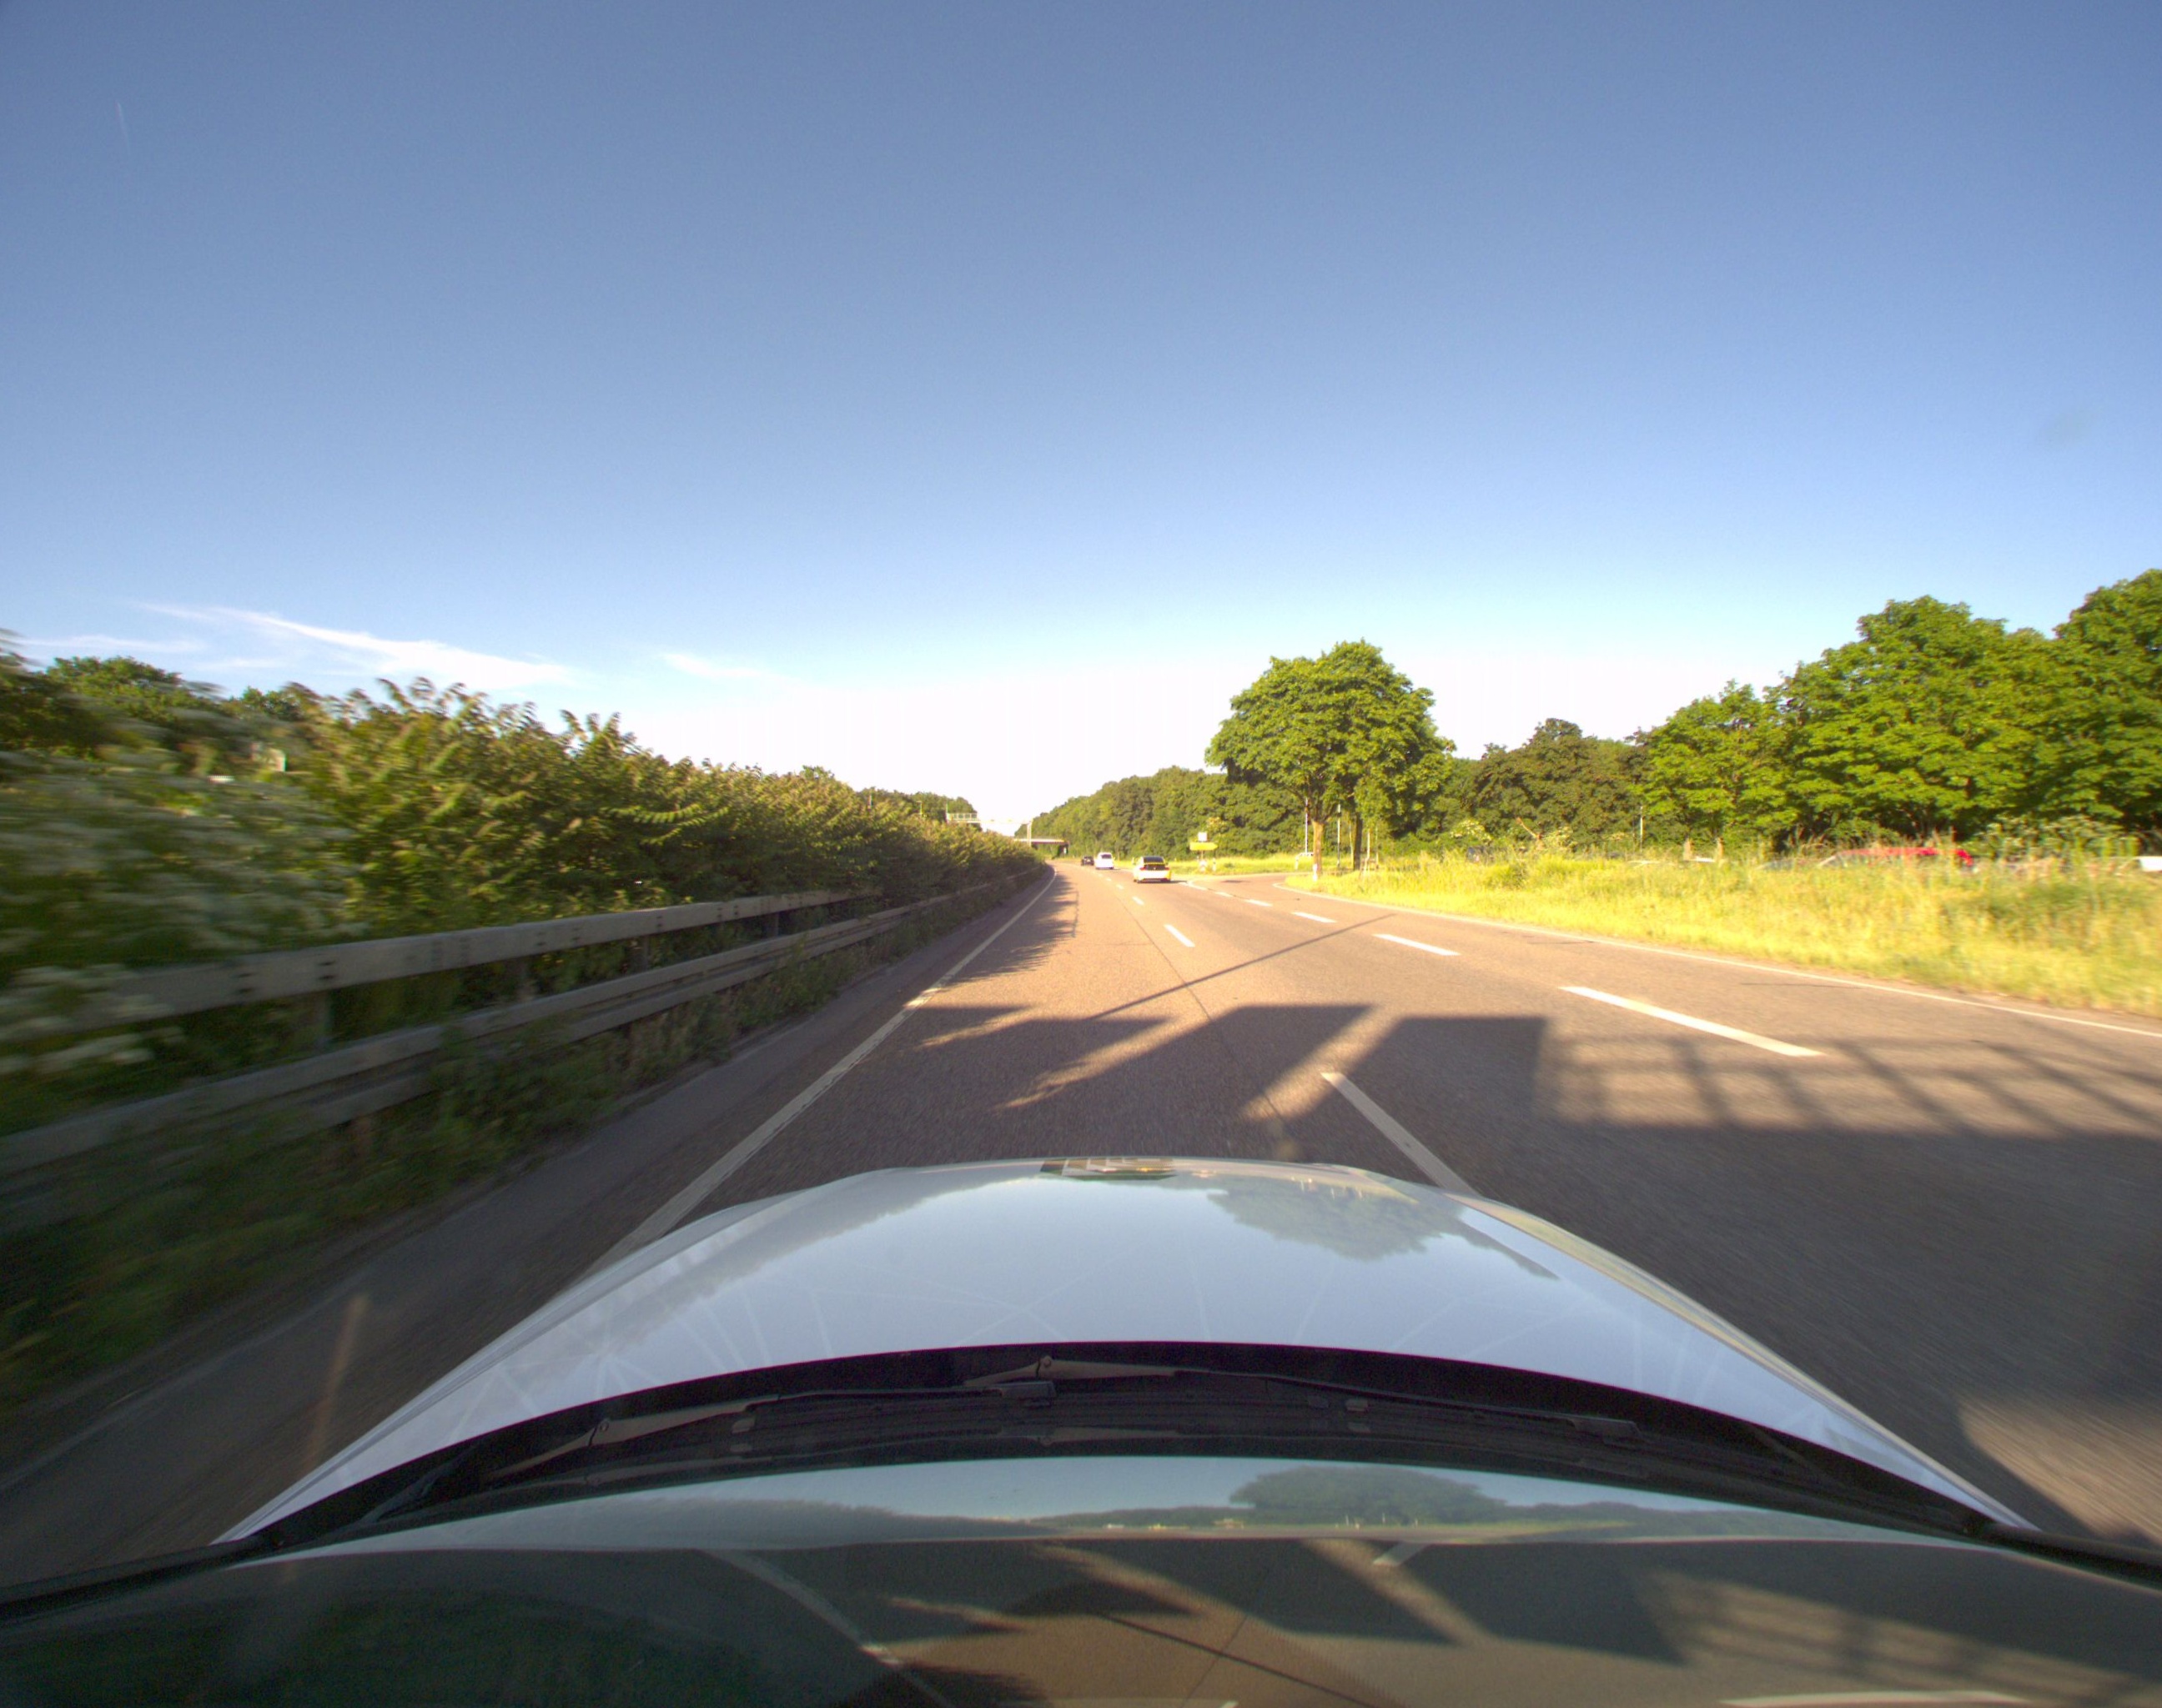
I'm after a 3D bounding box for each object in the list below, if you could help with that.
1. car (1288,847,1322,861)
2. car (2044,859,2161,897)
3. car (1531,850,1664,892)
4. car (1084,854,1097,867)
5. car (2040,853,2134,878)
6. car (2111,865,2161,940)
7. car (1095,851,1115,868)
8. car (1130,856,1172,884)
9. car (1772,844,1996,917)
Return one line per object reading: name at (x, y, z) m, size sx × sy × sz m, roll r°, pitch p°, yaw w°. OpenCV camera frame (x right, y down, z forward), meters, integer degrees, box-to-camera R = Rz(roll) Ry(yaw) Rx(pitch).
car at (30.139, 0.036, 109.474) m, size 3.950 × 1.824 × 1.914 m, roll -1°, pitch 0°, yaw 45°
car at (51.757, 1.183, 40.656) m, size 5.177 × 1.866 × 1.956 m, roll 0°, pitch -1°, yaw -2°
car at (23.808, 0.799, 37.646) m, size 4.847 × 1.679 × 2.220 m, roll 3°, pitch -1°, yaw -5°
car at (1.407, 0.940, 120.015) m, size 1.891 × 1.767 × 4.000 m, roll -1°, pitch 0°, yaw 0°
car at (68.364, 0.747, 55.401) m, size 1.918 × 1.576 × 3.956 m, roll 0°, pitch 0°, yaw -37°
car at (23.138, 0.956, 15.841) m, size 3.923 × 1.460 × 1.921 m, roll 1°, pitch -3°, yaw -4°
car at (2.572, 0.620, 87.495) m, size 1.892 × 1.767 × 3.996 m, roll -1°, pitch -1°, yaw -2°
car at (3.811, 0.836, 44.660) m, size 1.891 × 1.471 × 3.998 m, roll -1°, pitch 0°, yaw -1°
car at (23.595, 0.808, 24.056) m, size 4.779 × 2.024 × 2.023 m, roll 1°, pitch -3°, yaw -4°
